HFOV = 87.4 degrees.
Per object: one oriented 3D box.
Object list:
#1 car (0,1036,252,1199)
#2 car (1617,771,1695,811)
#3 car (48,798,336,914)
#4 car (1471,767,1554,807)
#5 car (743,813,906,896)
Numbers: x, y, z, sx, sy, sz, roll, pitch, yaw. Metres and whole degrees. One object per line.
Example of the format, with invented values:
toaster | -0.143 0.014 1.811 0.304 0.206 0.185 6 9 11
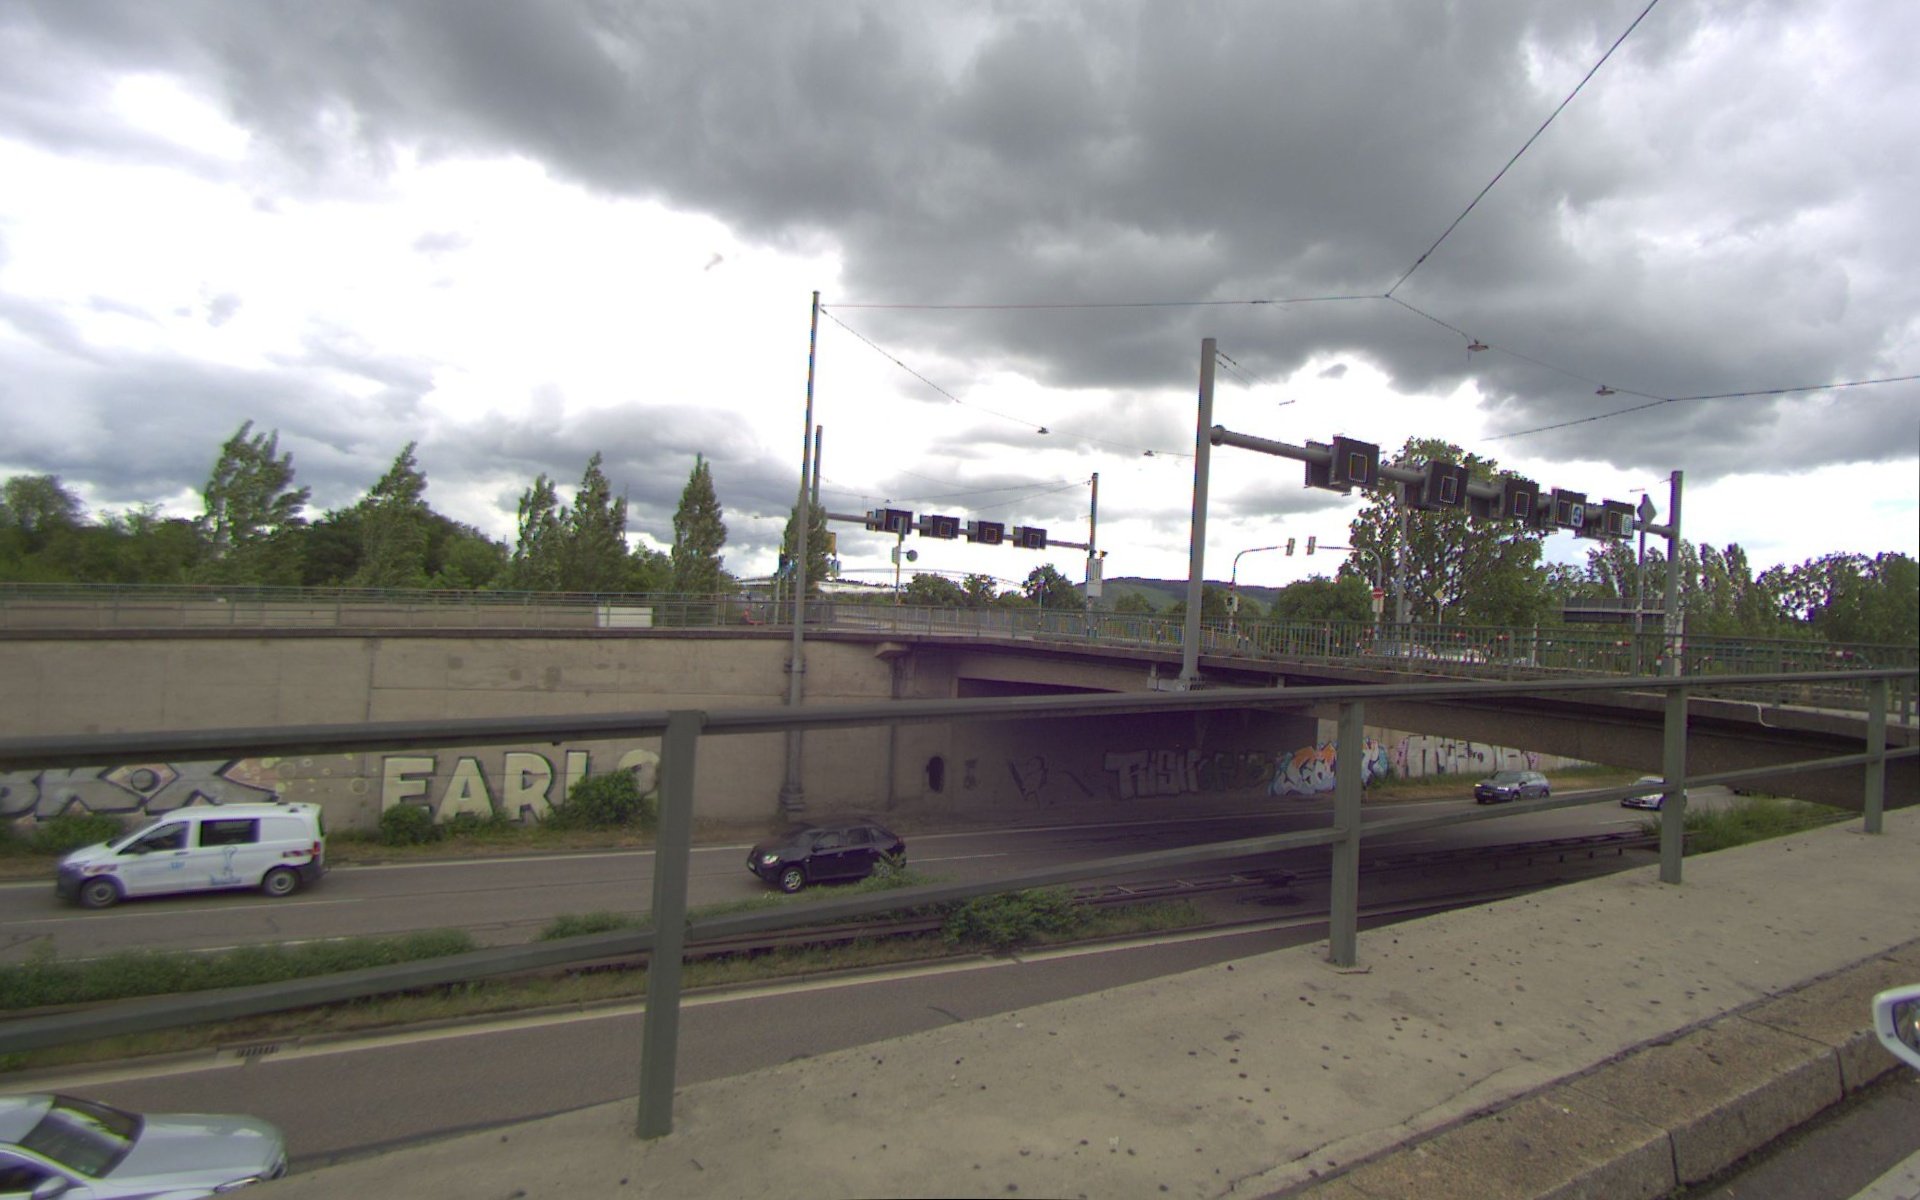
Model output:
car | -9.509 5.518 9.414 4.386 1.591 1.842 5 -3 -29
car | 35.844 9.803 51.722 4.444 1.632 1.671 4 -3 -32
car | -17.147 5.696 22.827 4.854 1.932 1.938 4 -3 -30
car | 27.708 9.343 50.365 4.206 1.692 1.703 5 -3 -30
car | -3.594 6.721 26.840 3.954 1.641 1.657 4 -4 -30
